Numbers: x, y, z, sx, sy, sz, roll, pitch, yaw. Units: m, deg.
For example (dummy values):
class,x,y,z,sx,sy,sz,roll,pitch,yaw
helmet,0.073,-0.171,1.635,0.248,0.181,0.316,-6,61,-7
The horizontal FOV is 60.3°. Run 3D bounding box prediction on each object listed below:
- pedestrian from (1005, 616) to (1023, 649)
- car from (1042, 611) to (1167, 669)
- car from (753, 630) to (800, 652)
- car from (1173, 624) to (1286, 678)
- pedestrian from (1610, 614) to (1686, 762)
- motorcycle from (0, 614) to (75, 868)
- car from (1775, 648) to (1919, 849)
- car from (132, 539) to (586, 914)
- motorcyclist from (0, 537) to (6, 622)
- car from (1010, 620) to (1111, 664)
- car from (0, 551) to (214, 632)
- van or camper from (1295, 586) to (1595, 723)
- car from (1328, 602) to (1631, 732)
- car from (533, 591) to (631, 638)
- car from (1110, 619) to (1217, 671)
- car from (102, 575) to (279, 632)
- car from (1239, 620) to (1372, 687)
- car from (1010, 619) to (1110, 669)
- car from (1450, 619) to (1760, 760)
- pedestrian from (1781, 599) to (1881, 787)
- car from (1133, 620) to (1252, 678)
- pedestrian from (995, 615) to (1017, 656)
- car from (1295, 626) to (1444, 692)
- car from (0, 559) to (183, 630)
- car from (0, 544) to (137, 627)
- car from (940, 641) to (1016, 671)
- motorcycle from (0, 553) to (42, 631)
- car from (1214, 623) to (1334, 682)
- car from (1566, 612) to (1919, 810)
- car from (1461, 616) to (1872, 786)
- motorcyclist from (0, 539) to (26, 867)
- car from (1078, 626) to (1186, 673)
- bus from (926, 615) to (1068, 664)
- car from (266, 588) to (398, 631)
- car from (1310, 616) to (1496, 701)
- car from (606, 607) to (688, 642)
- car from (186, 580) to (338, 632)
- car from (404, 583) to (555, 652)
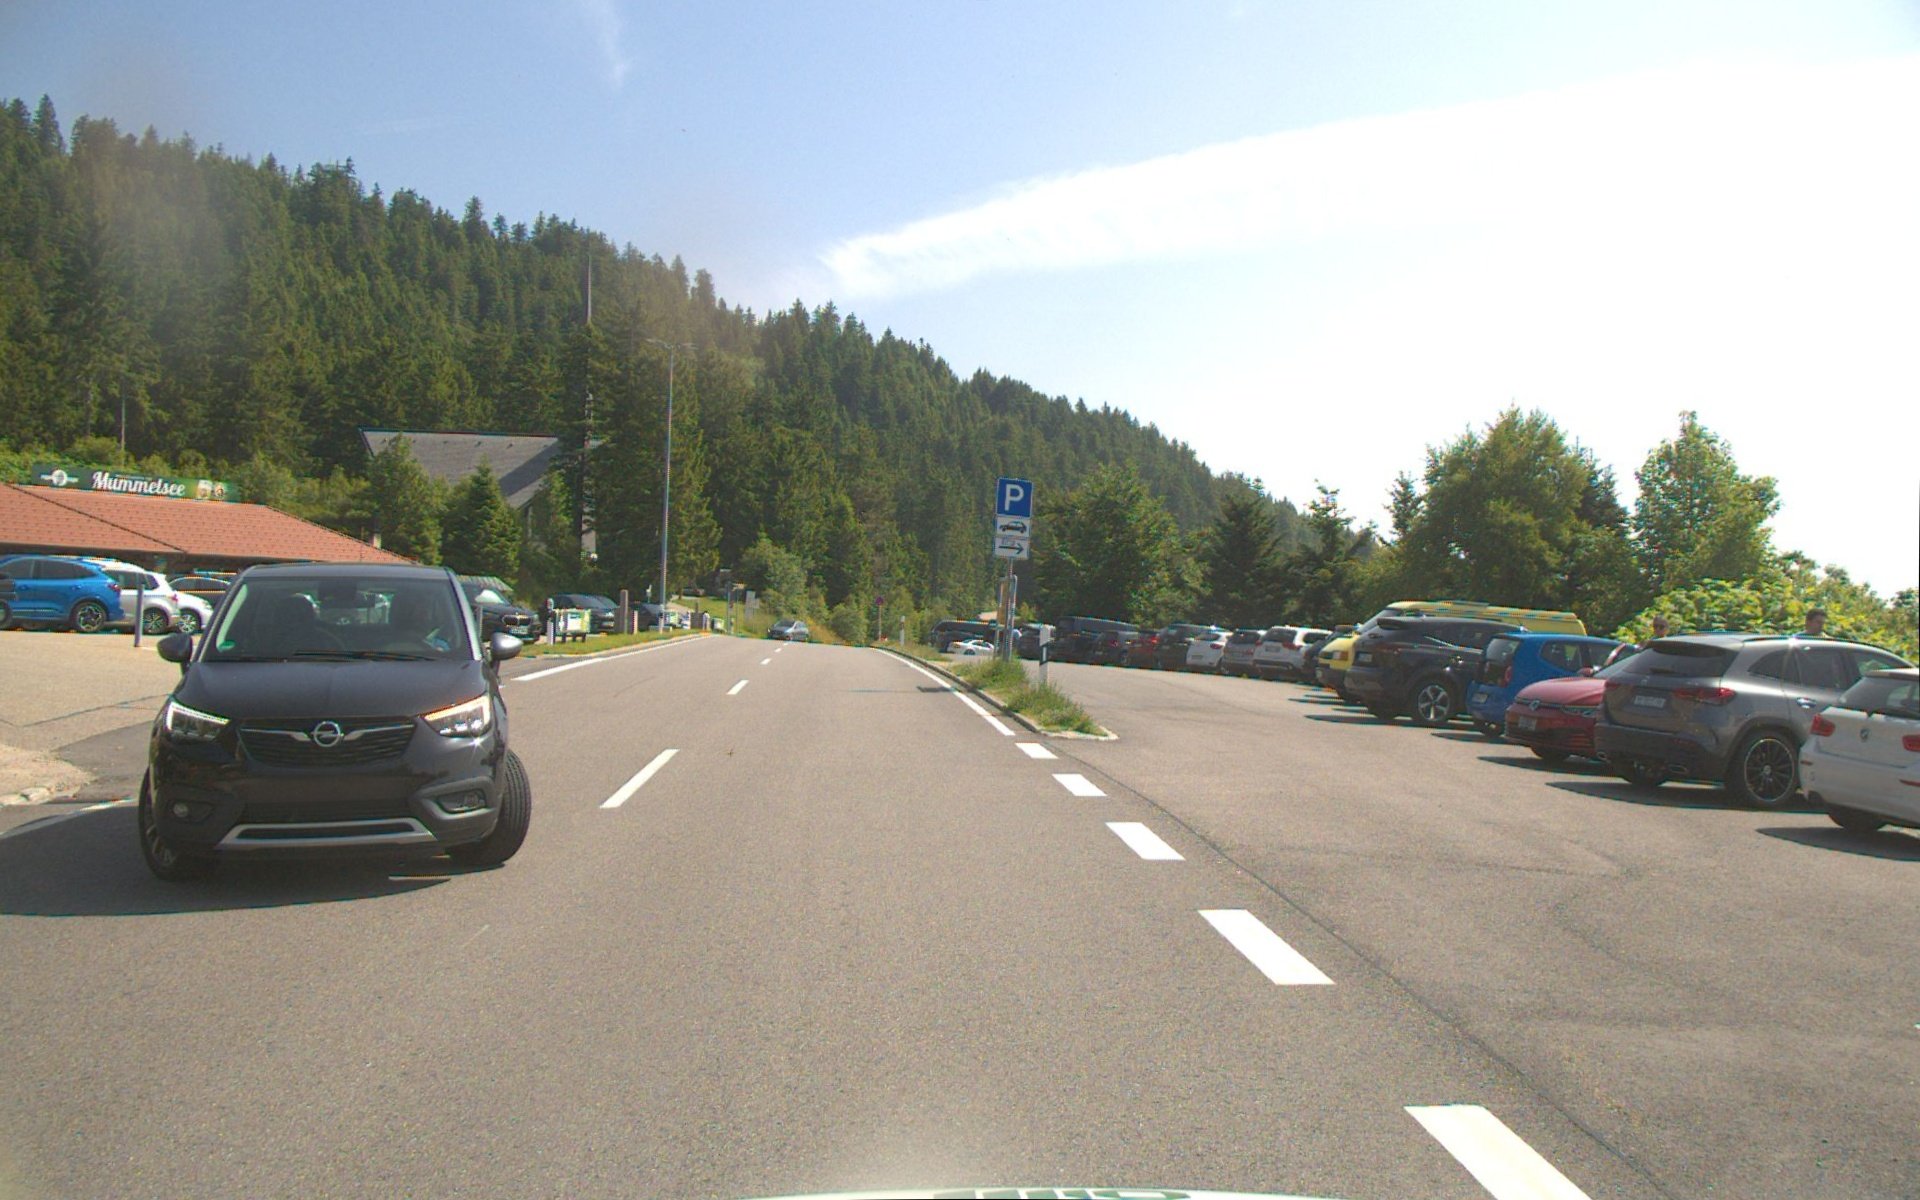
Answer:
class,x,y,z,sx,sy,sz,roll,pitch,yaw
pedestrian,2.386,1.444,73.297,0.757,1.427,0.669,2,0,2
car,5.993,1.667,68.594,4.695,1.912,1.952,6,-2,-24
car,-12.554,2.804,113.186,1.550,1.454,3.367,2,0,28
car,9.435,1.782,57.793,3.966,1.501,1.741,7,-2,-42
pedestrian,8.422,1.067,20.254,0.495,1.754,0.564,5,-1,-17
motorcycle,-5.281,0.726,8.038,0.795,1.287,2.326,1,0,-3
car,8.791,1.267,13.196,3.920,1.409,1.651,5,-1,-14
car,-3.481,0.547,9.561,1.952,1.645,4.122,1,0,-22
motorcyclist,-18.882,-0.360,31.222,1.237,1.750,1.048,5,-2,-42
car,4.358,1.821,71.714,3.938,1.468,1.825,6,-2,-26
car,-21.472,-0.195,41.721,1.803,1.896,4.501,2,0,42
van or camper,9.112,1.007,31.338,4.989,2.048,1.882,6,0,-1
car,7.866,0.997,25.218,3.914,1.641,1.912,4,-1,-10
car,-13.961,0.537,60.945,1.769,1.579,3.937,2,0,-43
car,7.820,1.747,63.434,3.966,1.617,1.835,7,-2,-42
car,-21.134,0.118,45.537,1.879,1.455,3.979,2,0,40
car,10.700,1.660,51.075,4.191,1.724,1.835,6,-2,-42
car,4.535,2.001,74.895,3.948,1.690,1.979,9,-4,-31
car,8.759,1.192,22.632,3.511,1.521,1.647,5,0,-4
pedestrian,9.330,0.985,17.731,0.596,1.933,0.679,5,-1,2
car,8.472,1.798,60.168,4.237,1.724,1.961,7,-2,-42
pedestrian,2.099,1.600,75.314,0.569,1.791,0.631,4,-3,35
car,11.716,1.703,47.271,4.001,1.486,1.874,6,-2,-33
car,-20.921,-0.123,39.329,1.965,1.573,3.976,2,0,42
car,-20.778,-0.340,36.227,1.904,1.693,4.521,2,-1,40
car,1.136,3.513,103.795,4.391,1.320,1.572,8,-2,-21
motorcycle,-18.857,-0.211,31.232,2.424,1.431,0.990,5,-2,-43
car,10.363,1.744,54.494,3.966,1.575,1.793,7,-2,-42
car,8.412,1.104,16.144,4.324,1.595,1.900,5,0,-15
car,7.967,1.130,18.777,3.920,1.536,1.836,5,0,-14
motorcyclist,-5.276,0.519,7.940,0.861,1.670,1.298,1,0,-4
car,6.849,1.971,65.760,3.948,1.439,1.726,6,-2,-32
bus,3.420,3.621,152.298,12.588,3.640,2.984,3,0,12
car,-22.118,0.331,58.295,3.966,1.395,1.784,2,0,-43
car,10.952,1.454,40.896,4.118,1.678,1.877,6,-2,-25
car,-16.458,1.299,86.891,4.126,1.662,1.782,1,-3,36
car,-21.863,0.211,51.890,1.685,1.512,4.057,2,0,40
car,-12.001,0.409,41.152,4.122,1.567,1.795,2,0,44
